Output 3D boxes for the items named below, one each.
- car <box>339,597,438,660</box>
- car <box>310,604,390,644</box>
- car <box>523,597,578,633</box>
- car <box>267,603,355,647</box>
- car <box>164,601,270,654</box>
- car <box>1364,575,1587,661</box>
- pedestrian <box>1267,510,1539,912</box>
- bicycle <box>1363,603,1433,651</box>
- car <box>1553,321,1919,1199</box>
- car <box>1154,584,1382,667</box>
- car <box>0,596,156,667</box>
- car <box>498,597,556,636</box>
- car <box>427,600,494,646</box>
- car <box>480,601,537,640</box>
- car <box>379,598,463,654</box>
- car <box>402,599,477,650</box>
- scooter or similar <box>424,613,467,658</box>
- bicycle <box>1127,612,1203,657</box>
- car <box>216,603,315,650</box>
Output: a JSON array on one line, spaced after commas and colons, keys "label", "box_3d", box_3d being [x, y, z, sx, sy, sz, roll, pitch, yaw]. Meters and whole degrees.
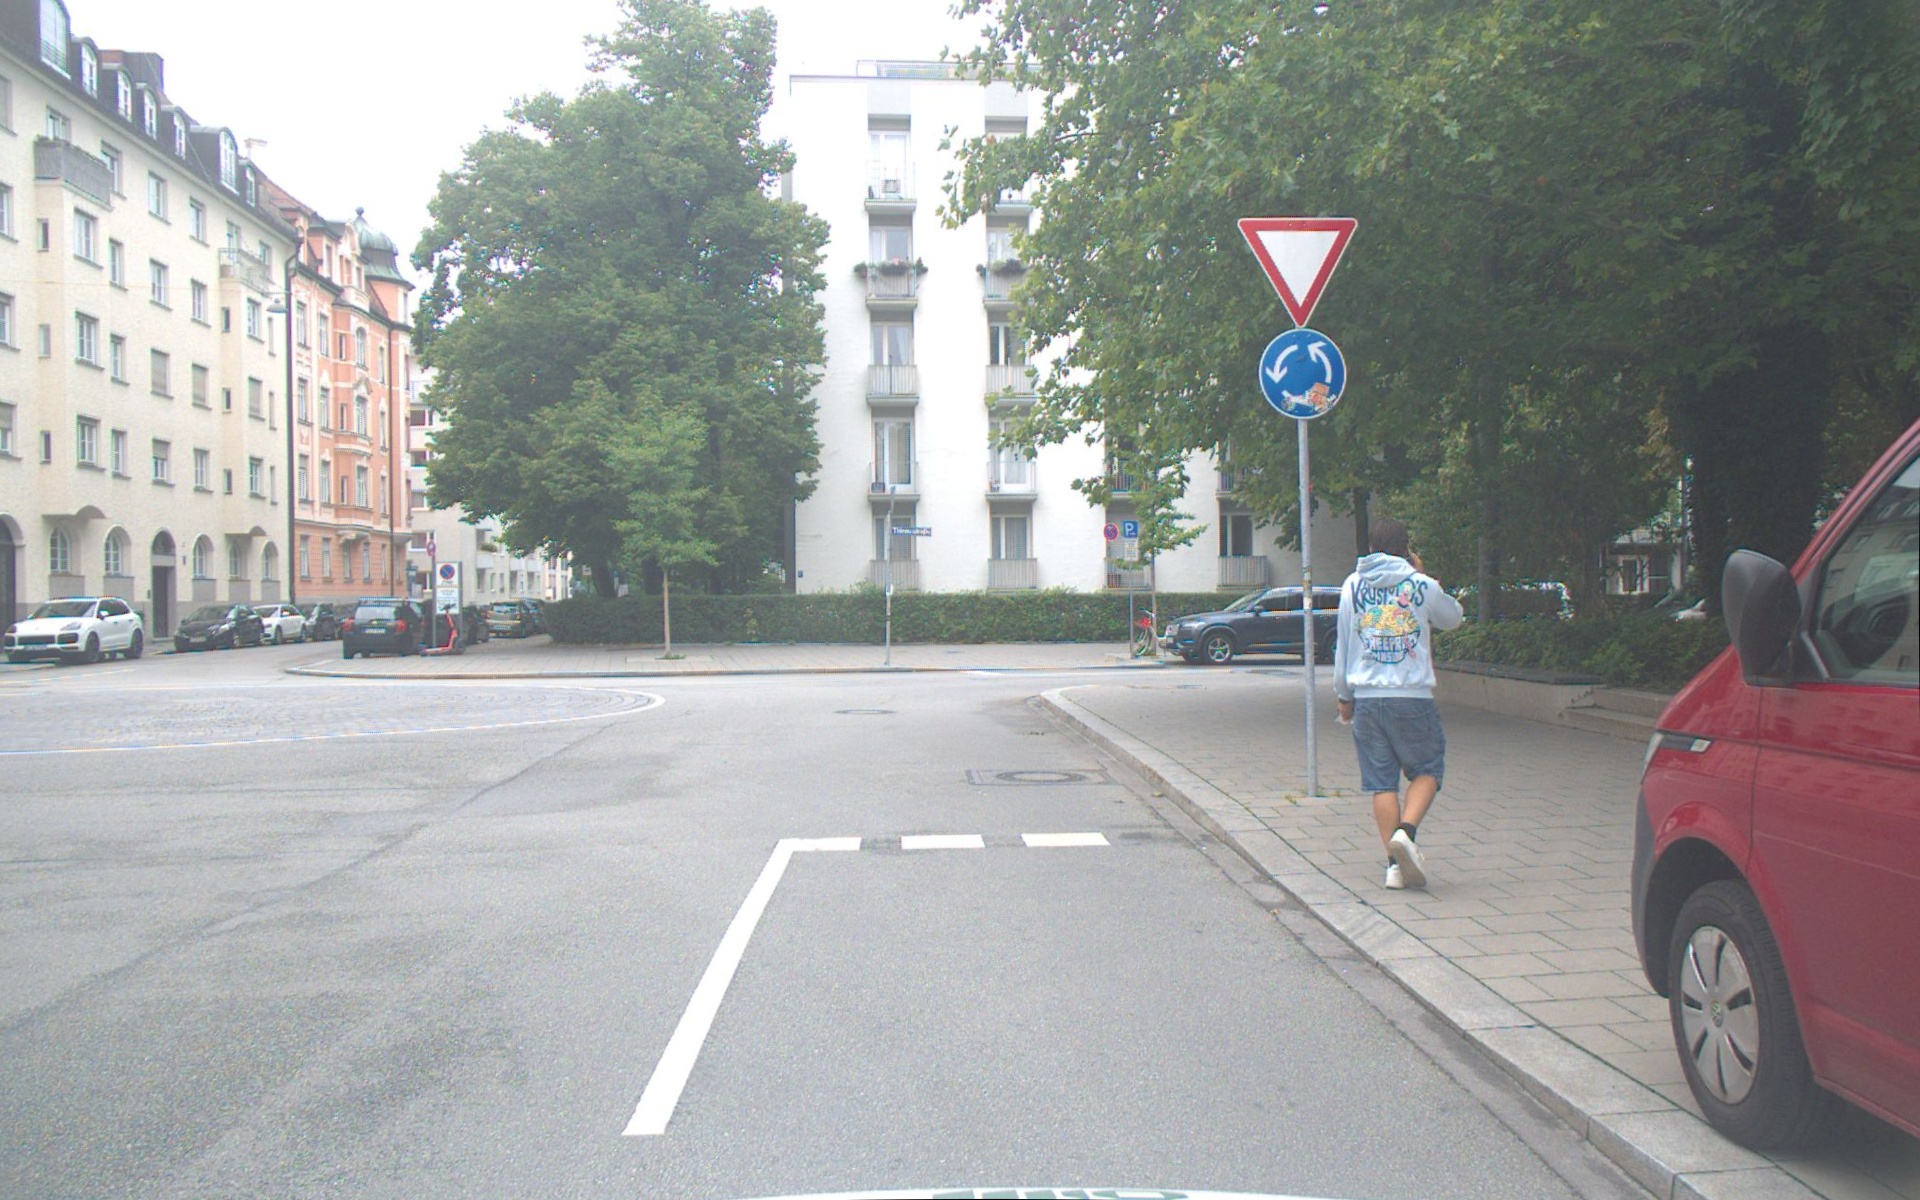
[{"label": "car", "box_3d": [-15.145, 0.711, 44.048, 1.786, 1.531, 4.411, -2, 0, -10]}, {"label": "car", "box_3d": [-25.391, 0.966, 68.947, 1.936, 1.608, 4.405, 0, 0, -4]}, {"label": "car", "box_3d": [-19.944, 0.703, 80.692, 1.798, 1.663, 3.817, -2, 0, -3]}, {"label": "car", "box_3d": [-25.043, 0.938, 63.962, 1.936, 1.608, 4.404, 0, 0, -4]}, {"label": "car", "box_3d": [-24.149, 0.861, 53.960, 1.939, 1.644, 4.703, 0, 0, -9]}, {"label": "car", "box_3d": [12.200, 0.420, 39.253, 4.746, 1.952, 1.830, 0, -1, -11]}, {"label": "pedestrian", "box_3d": [2.175, 0.495, 8.102, 1.044, 1.802, 0.862, -1, 0, -44]}, {"label": "bicycle", "box_3d": [10.893, 0.662, 41.226, 0.531, 1.169, 1.810, -1, 0, -32]}, {"label": "car", "box_3d": [2.915, 0.412, 2.860, 1.836, 1.954, 4.885, 1, 0, -3]}, {"label": "car", "box_3d": [7.087, 0.585, 38.244, 4.808, 1.823, 1.995, 0, -1, -10]}, {"label": "car", "box_3d": [-23.076, 0.776, 43.461, 1.937, 1.730, 4.834, 0, 0, -6]}, {"label": "car", "box_3d": [-19.615, 0.725, 75.036, 1.799, 1.663, 4.111, -2, 0, -4]}, {"label": "car", "box_3d": [-17.899, 0.798, 59.421, 1.761, 1.531, 4.105, -2, 0, -10]}, {"label": "car", "box_3d": [-19.193, 0.864, 70.447, 1.801, 1.531, 4.107, -2, 0, -8]}, {"label": "car", "box_3d": [-15.998, 0.735, 49.232, 1.761, 1.531, 4.224, -2, 0, -10]}, {"label": "car", "box_3d": [-16.865, 0.762, 53.732, 1.761, 1.531, 4.105, -2, 0, -10]}, {"label": "scooter or similar", "box_3d": [-12.913, 0.883, 41.518, 0.989, 1.107, 0.386, 0, 0, -33]}, {"label": "bicycle", "box_3d": [5.011, 0.834, 40.411, 1.795, 1.067, 0.489, -1, 0, -17]}, {"label": "car", "box_3d": [-24.631, 0.907, 58.815, 1.936, 1.608, 4.404, 0, 0, -4]}]
